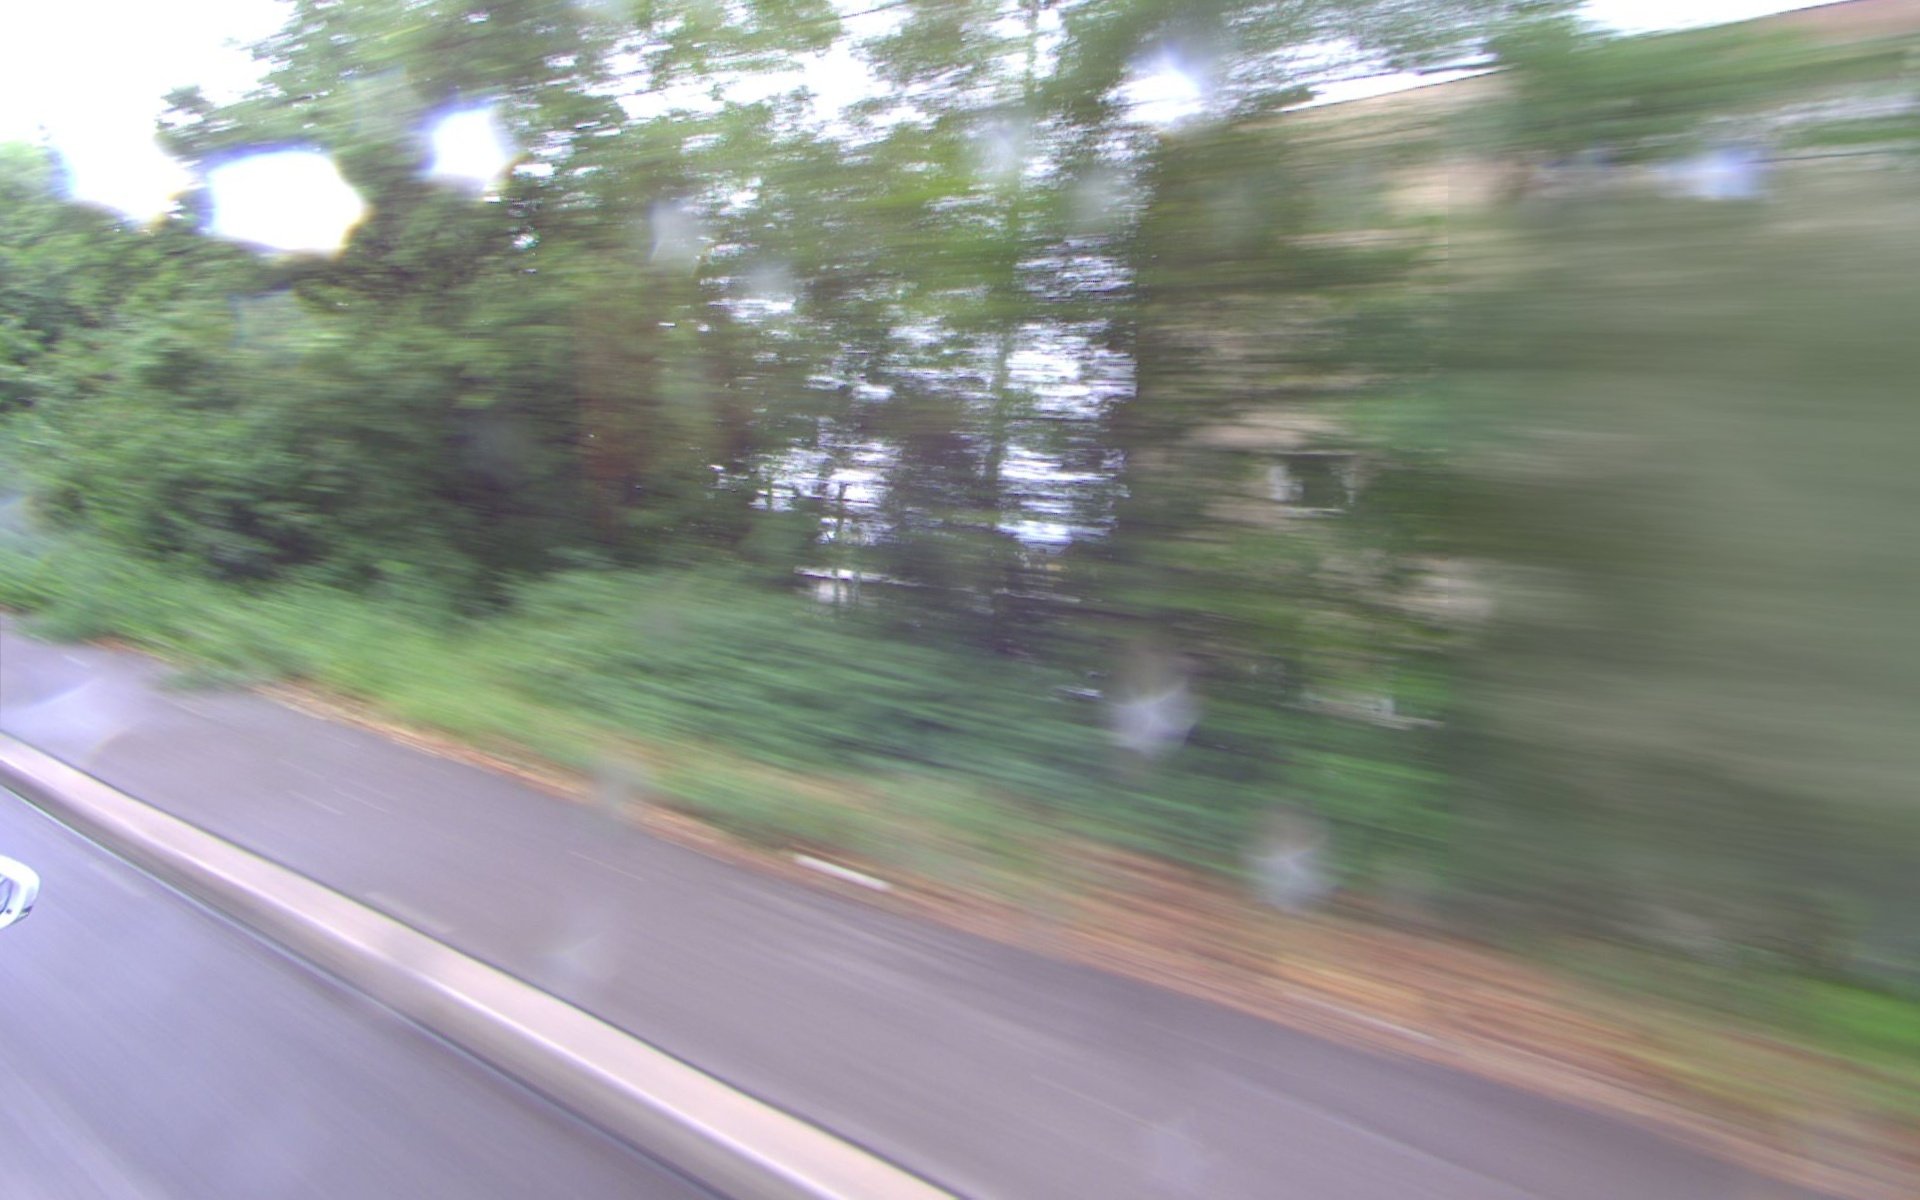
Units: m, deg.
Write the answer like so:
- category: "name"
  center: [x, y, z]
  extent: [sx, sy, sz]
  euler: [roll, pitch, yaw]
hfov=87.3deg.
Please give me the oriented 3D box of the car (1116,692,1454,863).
- category: "car"
  center: [4.272, 2.233, 13.494]
  extent: [3.938, 1.482, 1.552]
  euler: [5, 0, 36]
